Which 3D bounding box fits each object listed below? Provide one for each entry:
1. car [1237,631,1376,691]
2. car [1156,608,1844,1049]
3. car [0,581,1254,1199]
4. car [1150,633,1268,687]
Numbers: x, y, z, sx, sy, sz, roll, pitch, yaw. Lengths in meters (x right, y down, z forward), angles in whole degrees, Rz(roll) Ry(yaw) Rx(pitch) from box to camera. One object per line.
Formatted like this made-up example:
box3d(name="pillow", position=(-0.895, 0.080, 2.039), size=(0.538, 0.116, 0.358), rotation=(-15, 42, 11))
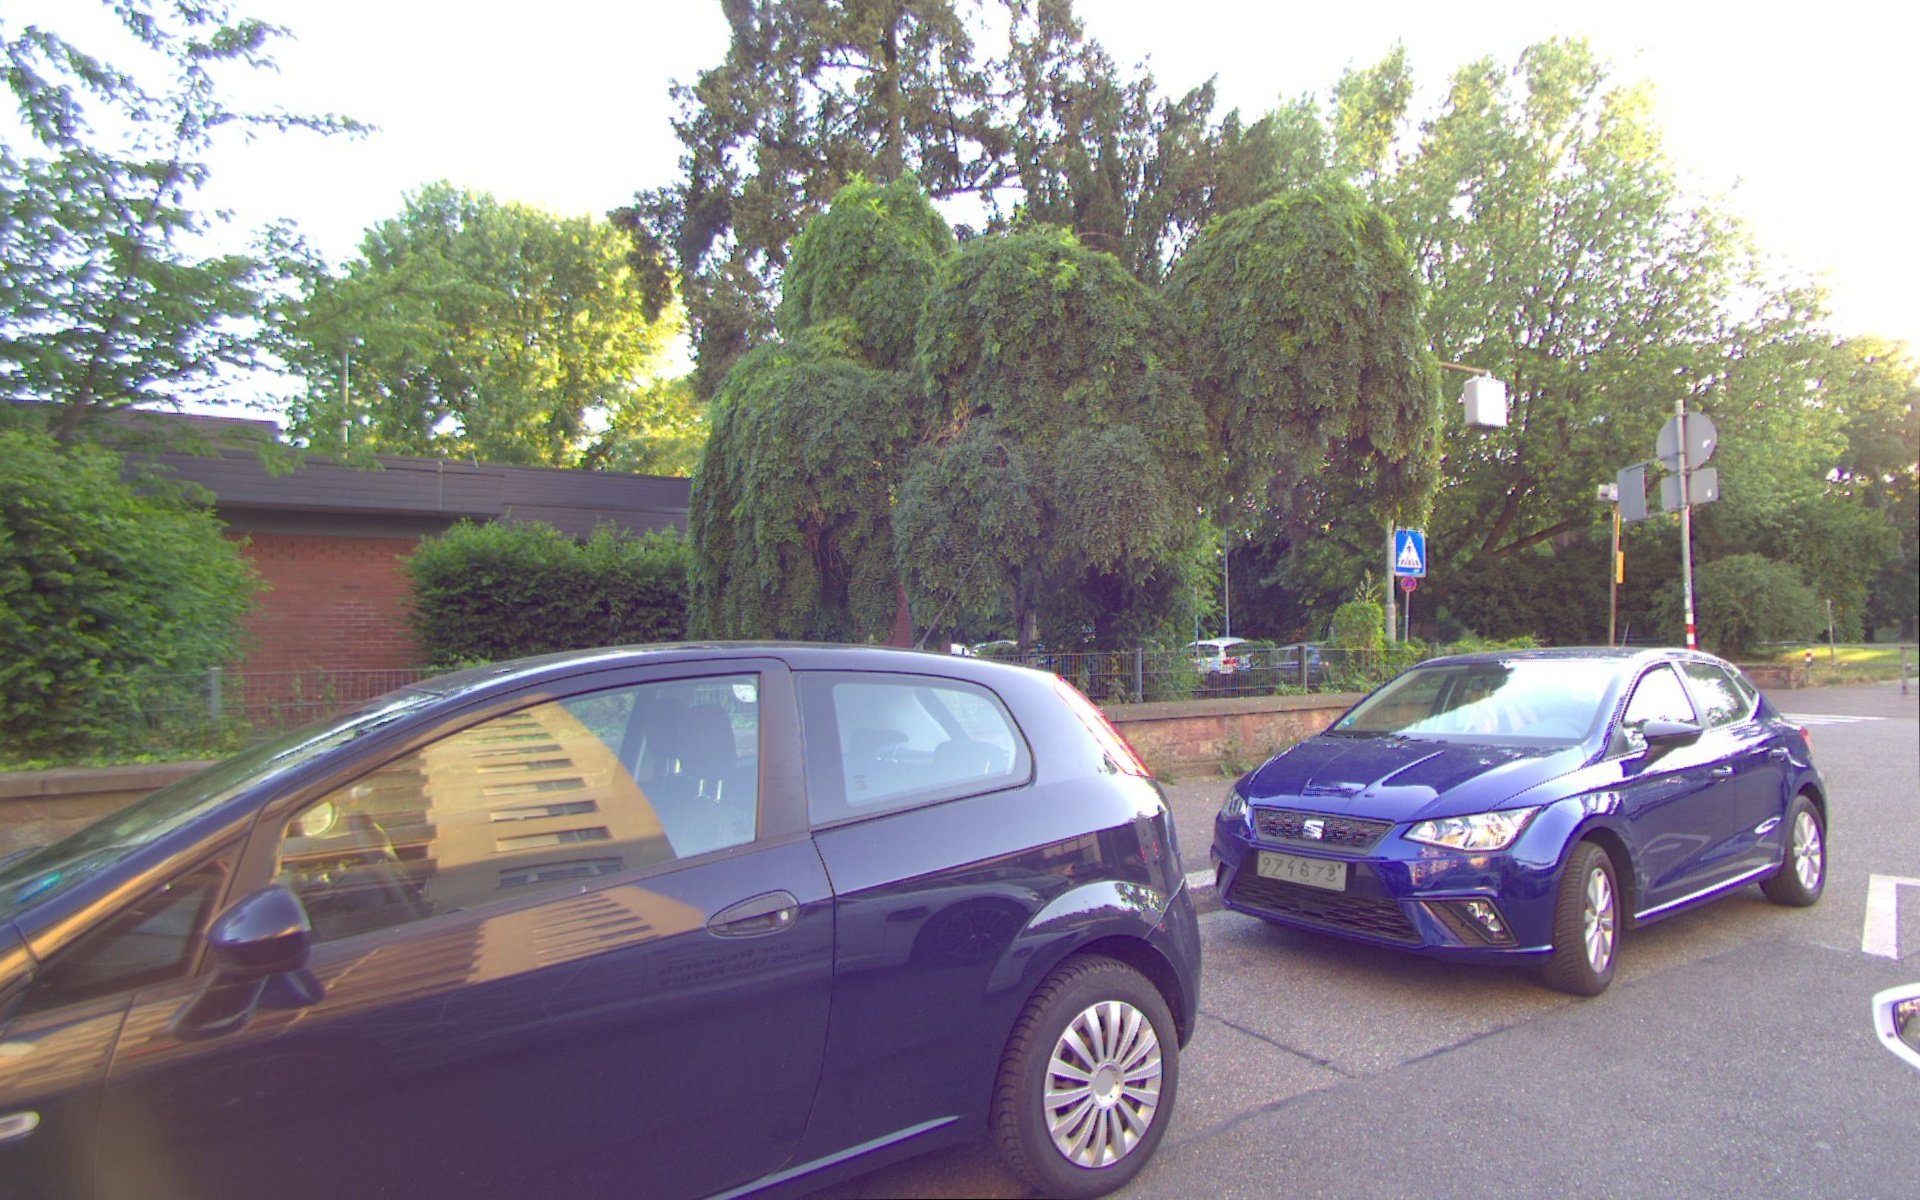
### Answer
box3d(name="car", position=(10.531, 1.835, 30.817), size=(1.798, 1.511, 3.843), rotation=(-6, 0, -24))
box3d(name="car", position=(3.034, 0.891, 5.438), size=(3.752, 1.587, 1.723), rotation=(1, -4, -35))
box3d(name="car", position=(-1.141, 0.826, 2.653), size=(3.659, 1.587, 1.723), rotation=(1, -4, -34))
box3d(name="car", position=(8.652, 2.103, 35.190), size=(1.800, 1.583, 3.856), rotation=(-6, 0, -27))
